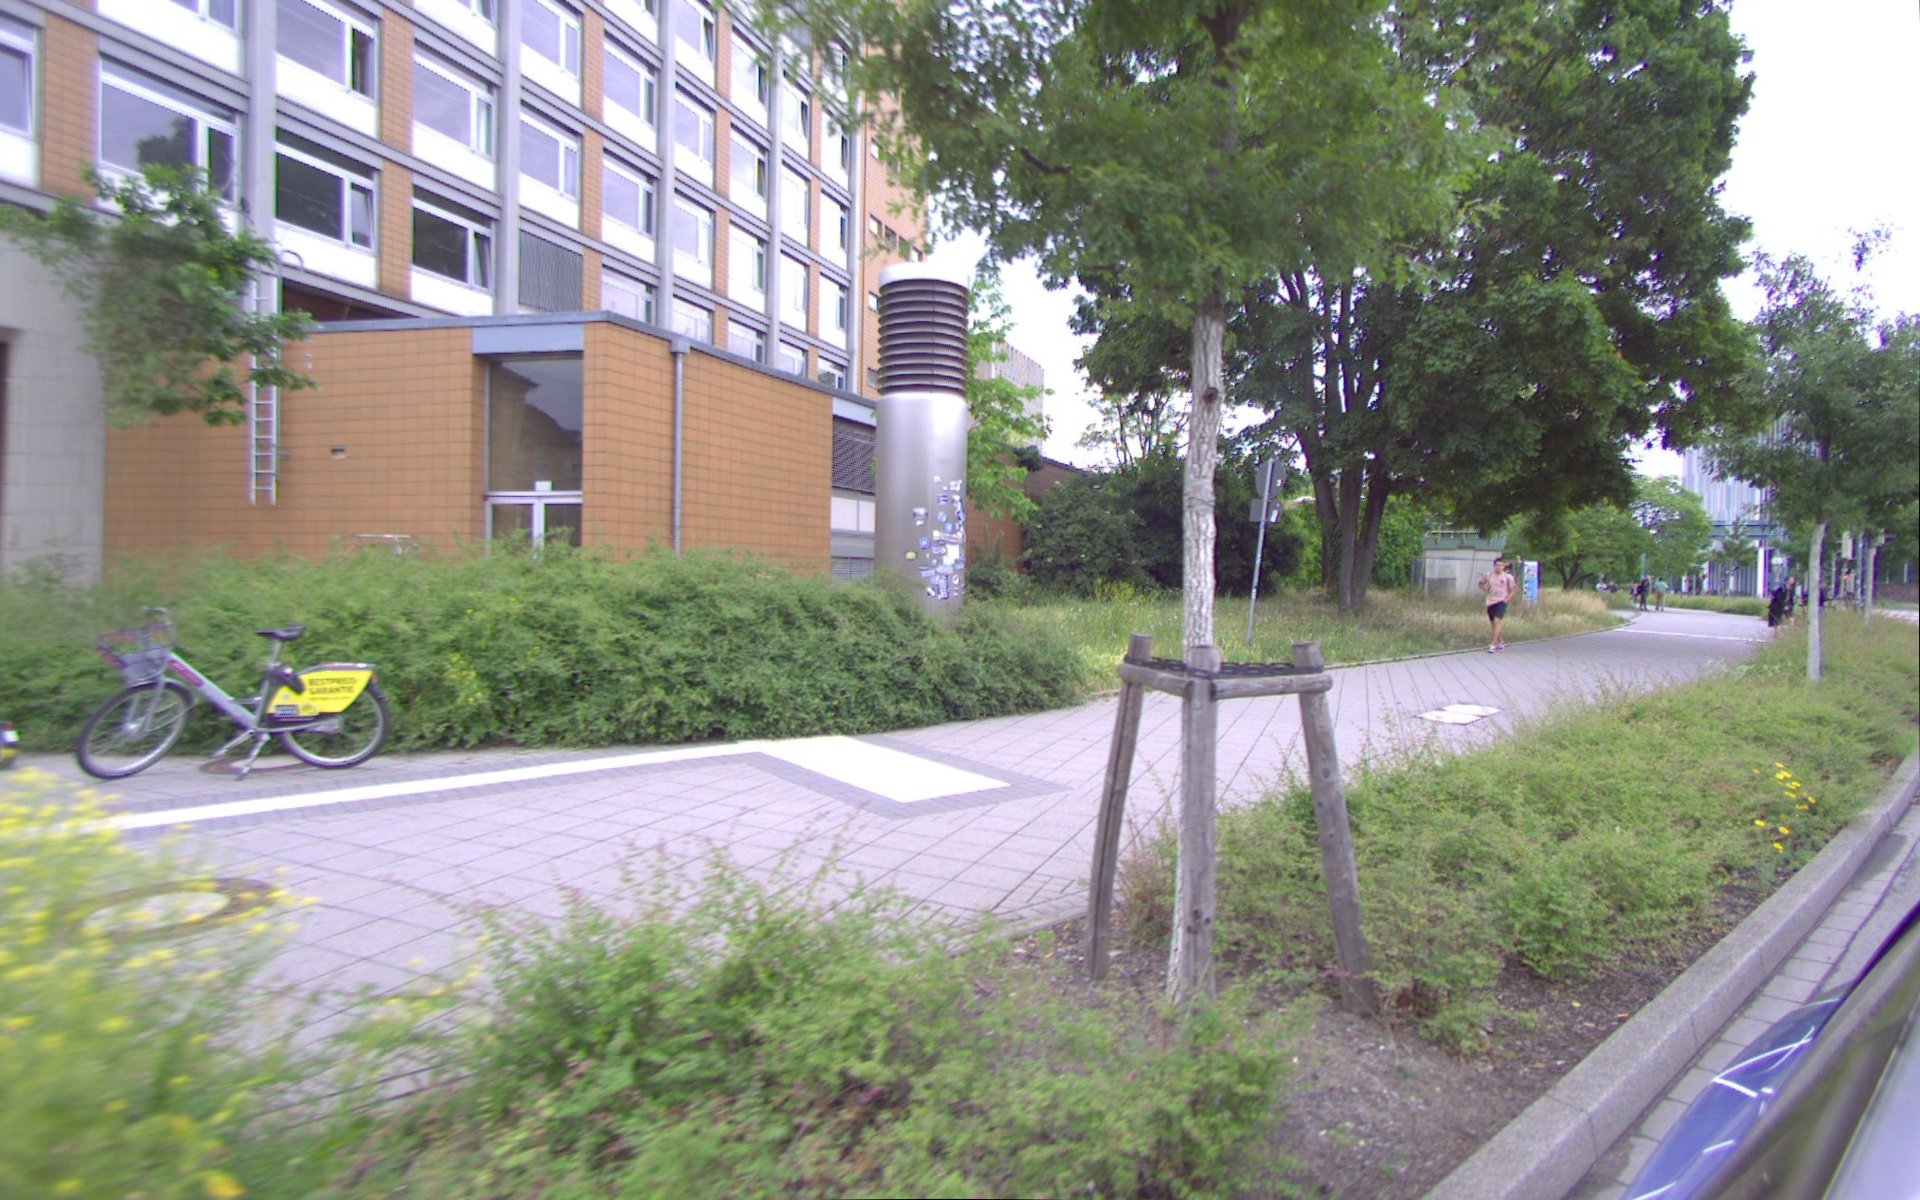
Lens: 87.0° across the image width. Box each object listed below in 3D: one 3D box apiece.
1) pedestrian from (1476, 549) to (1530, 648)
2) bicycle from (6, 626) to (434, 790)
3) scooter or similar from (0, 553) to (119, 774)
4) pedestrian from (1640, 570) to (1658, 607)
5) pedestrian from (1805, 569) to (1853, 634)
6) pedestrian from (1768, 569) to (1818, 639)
[{"bbox_3d":[10.327,-0.045,19.256,0.587,1.822,0.630,0,4,-41],"label":"pedestrian"},{"bbox_3d":[-4.385,0.607,6.184,2.030,0.859,0.559,0,1,-22],"label":"bicycle"},{"bbox_3d":[-6.332,0.379,6.558,1.585,1.306,0.690,0,0,21],"label":"scooter or similar"},{"bbox_3d":[35.667,-0.601,52.391,0.593,1.822,0.514,4,3,30],"label":"pedestrian"},{"bbox_3d":[25.014,0.030,29.144,0.709,1.822,0.597,3,3,6],"label":"pedestrian"},{"bbox_3d":[22.768,0.100,27.673,0.709,1.822,0.597,3,3,6],"label":"pedestrian"}]
